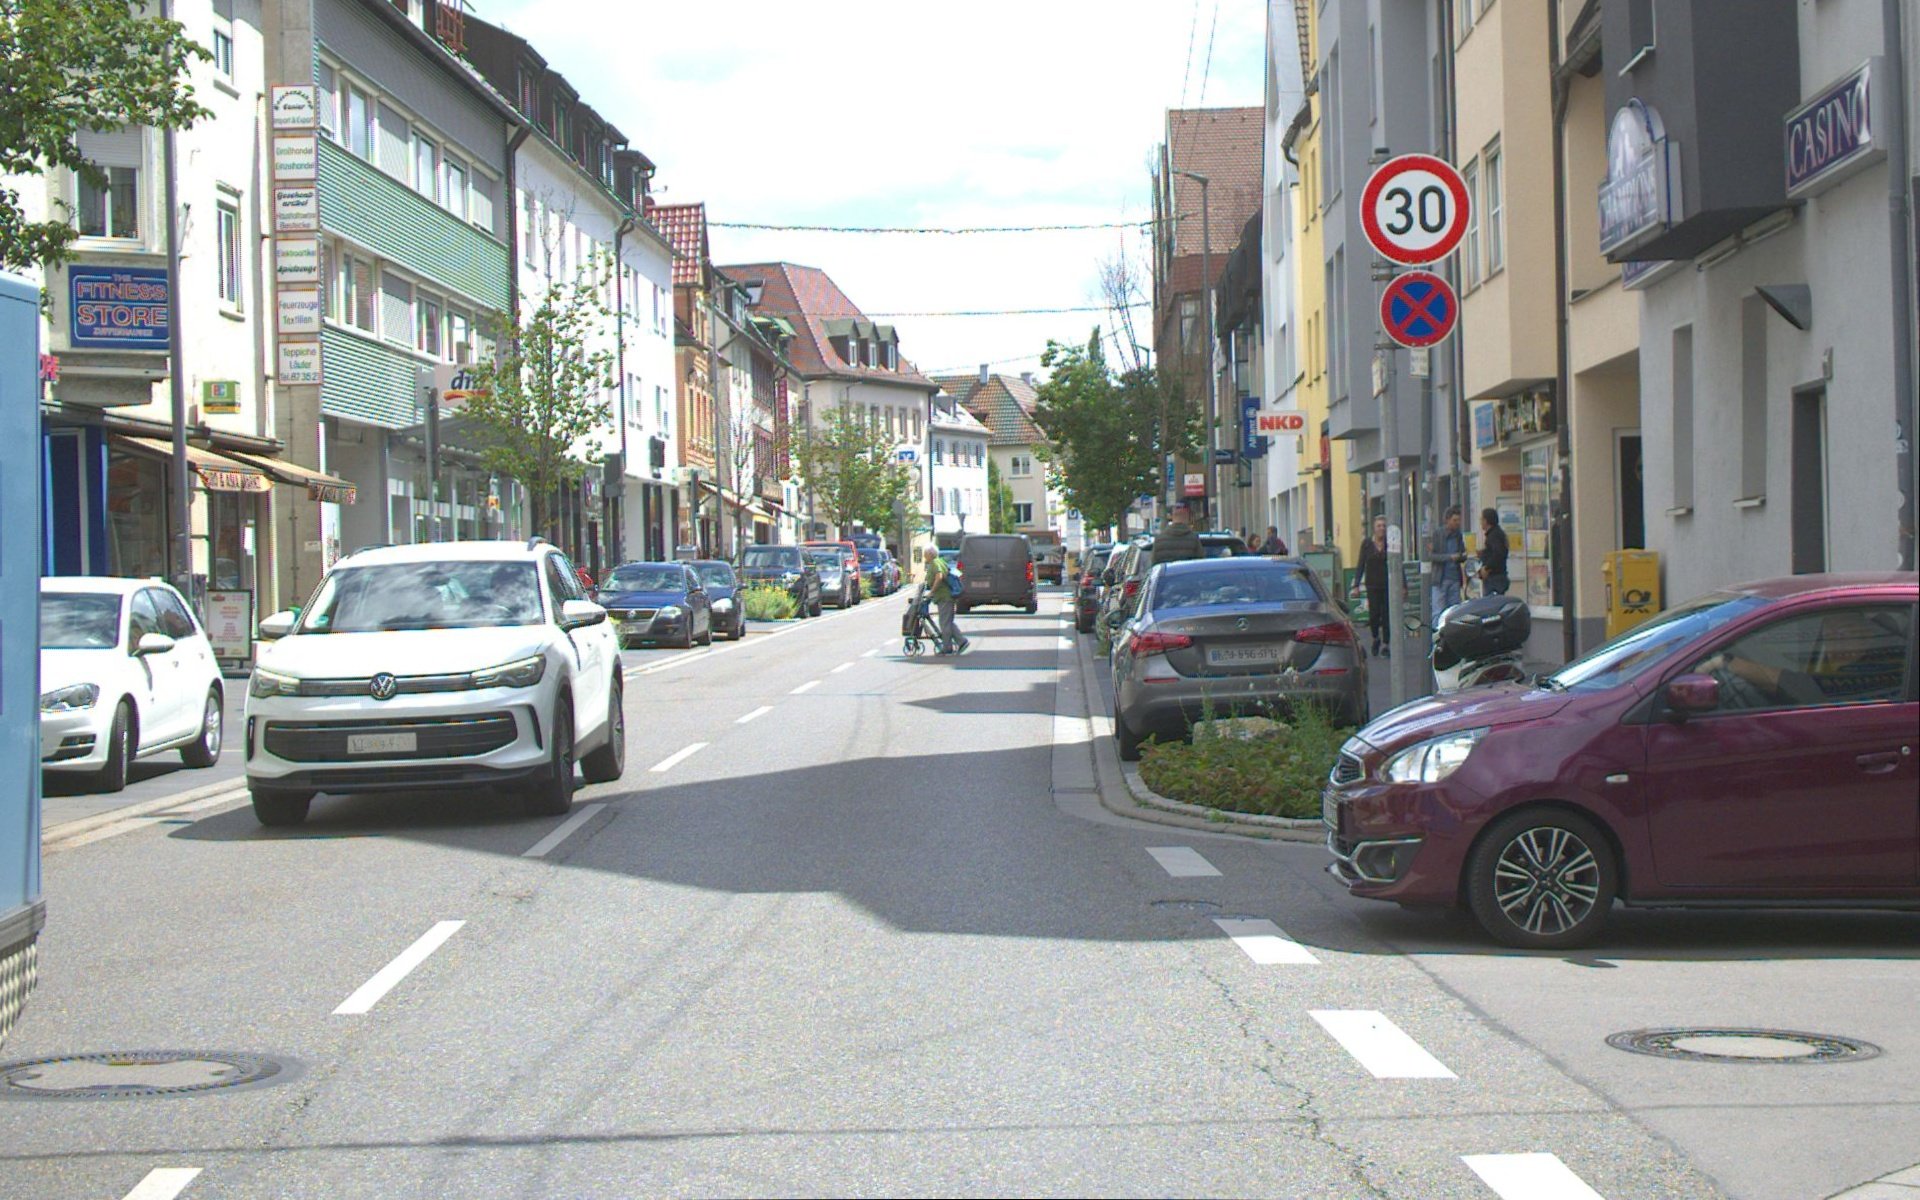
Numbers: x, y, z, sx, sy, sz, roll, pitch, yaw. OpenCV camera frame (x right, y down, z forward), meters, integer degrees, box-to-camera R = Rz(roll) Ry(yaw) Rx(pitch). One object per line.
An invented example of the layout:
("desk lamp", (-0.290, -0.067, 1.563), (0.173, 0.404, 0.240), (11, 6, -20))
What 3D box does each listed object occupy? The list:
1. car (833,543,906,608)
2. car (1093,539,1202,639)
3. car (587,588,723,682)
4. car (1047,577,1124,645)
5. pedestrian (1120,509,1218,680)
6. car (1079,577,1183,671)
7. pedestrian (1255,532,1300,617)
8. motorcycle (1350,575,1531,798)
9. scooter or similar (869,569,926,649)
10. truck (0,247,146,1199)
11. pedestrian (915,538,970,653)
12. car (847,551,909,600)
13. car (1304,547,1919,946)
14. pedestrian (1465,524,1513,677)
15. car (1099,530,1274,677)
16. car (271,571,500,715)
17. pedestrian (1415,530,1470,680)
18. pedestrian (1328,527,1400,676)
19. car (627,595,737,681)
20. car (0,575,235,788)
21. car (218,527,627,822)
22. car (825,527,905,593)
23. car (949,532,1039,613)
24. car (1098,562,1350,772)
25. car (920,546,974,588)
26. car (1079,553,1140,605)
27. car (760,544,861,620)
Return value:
("car", (-2.679, -0.723, 102.811), (1.816, 1.882, 4.840), (0, 0, 3))
("car", (3.064, -0.175, 56.710), (1.689, 1.568, 3.756), (0, 0, 2))
("car", (-5.196, 0.568, 59.087), (1.790, 1.507, 4.712), (0, 1, 2))
("car", (2.954, 0.251, 81.697), (1.721, 1.571, 4.109), (0, 0, 1))
("pedestrian", (2.352, -0.062, 38.784), (0.975, 1.857, 0.864), (-3, 0, 1))
("car", (3.012, 0.395, 61.193), (1.689, 1.467, 4.524), (1, 2, 1))
("pedestrian", (5.886, -0.478, 63.816), (0.750, 1.548, 0.726), (-1, 0, 1))
("motorcycle", (2.855, 0.489, 20.634), (0.659, 1.255, 2.376), (1, 0, -2))
("scooter or similar", (-0.886, 0.126, 48.448), (0.781, 1.122, 0.630), (1, 0, -3))
("truck", (-3.290, 0.306, 6.446), (2.106, 2.297, 6.476), (0, 0, -1))
("pedestrian", (-0.252, -0.063, 48.486), (0.731, 1.612, 0.651), (1, 0, -3))
("car", (-2.718, -0.839, 115.225), (1.799, 1.592, 4.389), (0, 1, 2))
("car", (3.354, 0.573, 14.059), (3.746, 1.525, 1.537), (0, 0, 1))
("pedestrian", (5.991, 0.005, 38.938), (0.435, 1.712, 0.537), (0, 0, -1))
("car", (2.667, 0.012, 41.271), (1.799, 1.598, 4.204), (-3, 1, 1))
("car", (-5.932, 0.428, 35.862), (1.586, 1.409, 3.668), (0, 0, 3))
("pedestrian", (5.542, 0.057, 39.529), (0.535, 1.712, 0.606), (0, 0, 0))
("pedestrian", (4.729, 0.016, 40.255), (0.743, 1.712, 0.656), (-1, 0, 1))
("car", (-5.131, 0.686, 63.862), (1.790, 1.498, 4.178), (0, 1, -1))
("car", (-6.507, 0.534, 24.580), (1.845, 1.393, 4.037), (0, 0, -1))
("car", (-3.205, 0.419, 21.279), (1.788, 1.634, 4.116), (0, 0, 1))
("car", (-2.595, -1.088, 95.088), (1.816, 1.749, 4.463), (0, 0, 3))
("car", (0.809, -0.631, 81.356), (2.041, 1.842, 4.999), (0, 0, 1))
("car", (1.964, 0.459, 25.649), (1.707, 1.415, 4.317), (0, 0, 4))
("car", (-0.493, -1.276, 134.257), (1.905, 1.558, 4.645), (0, 0, 2))
("car", (4.436, -0.615, 101.495), (1.721, 1.488, 4.108), (0, 0, 3))
("car", (-3.529, -0.422, 82.010), (1.816, 1.749, 4.668), (0, 0, 5))
